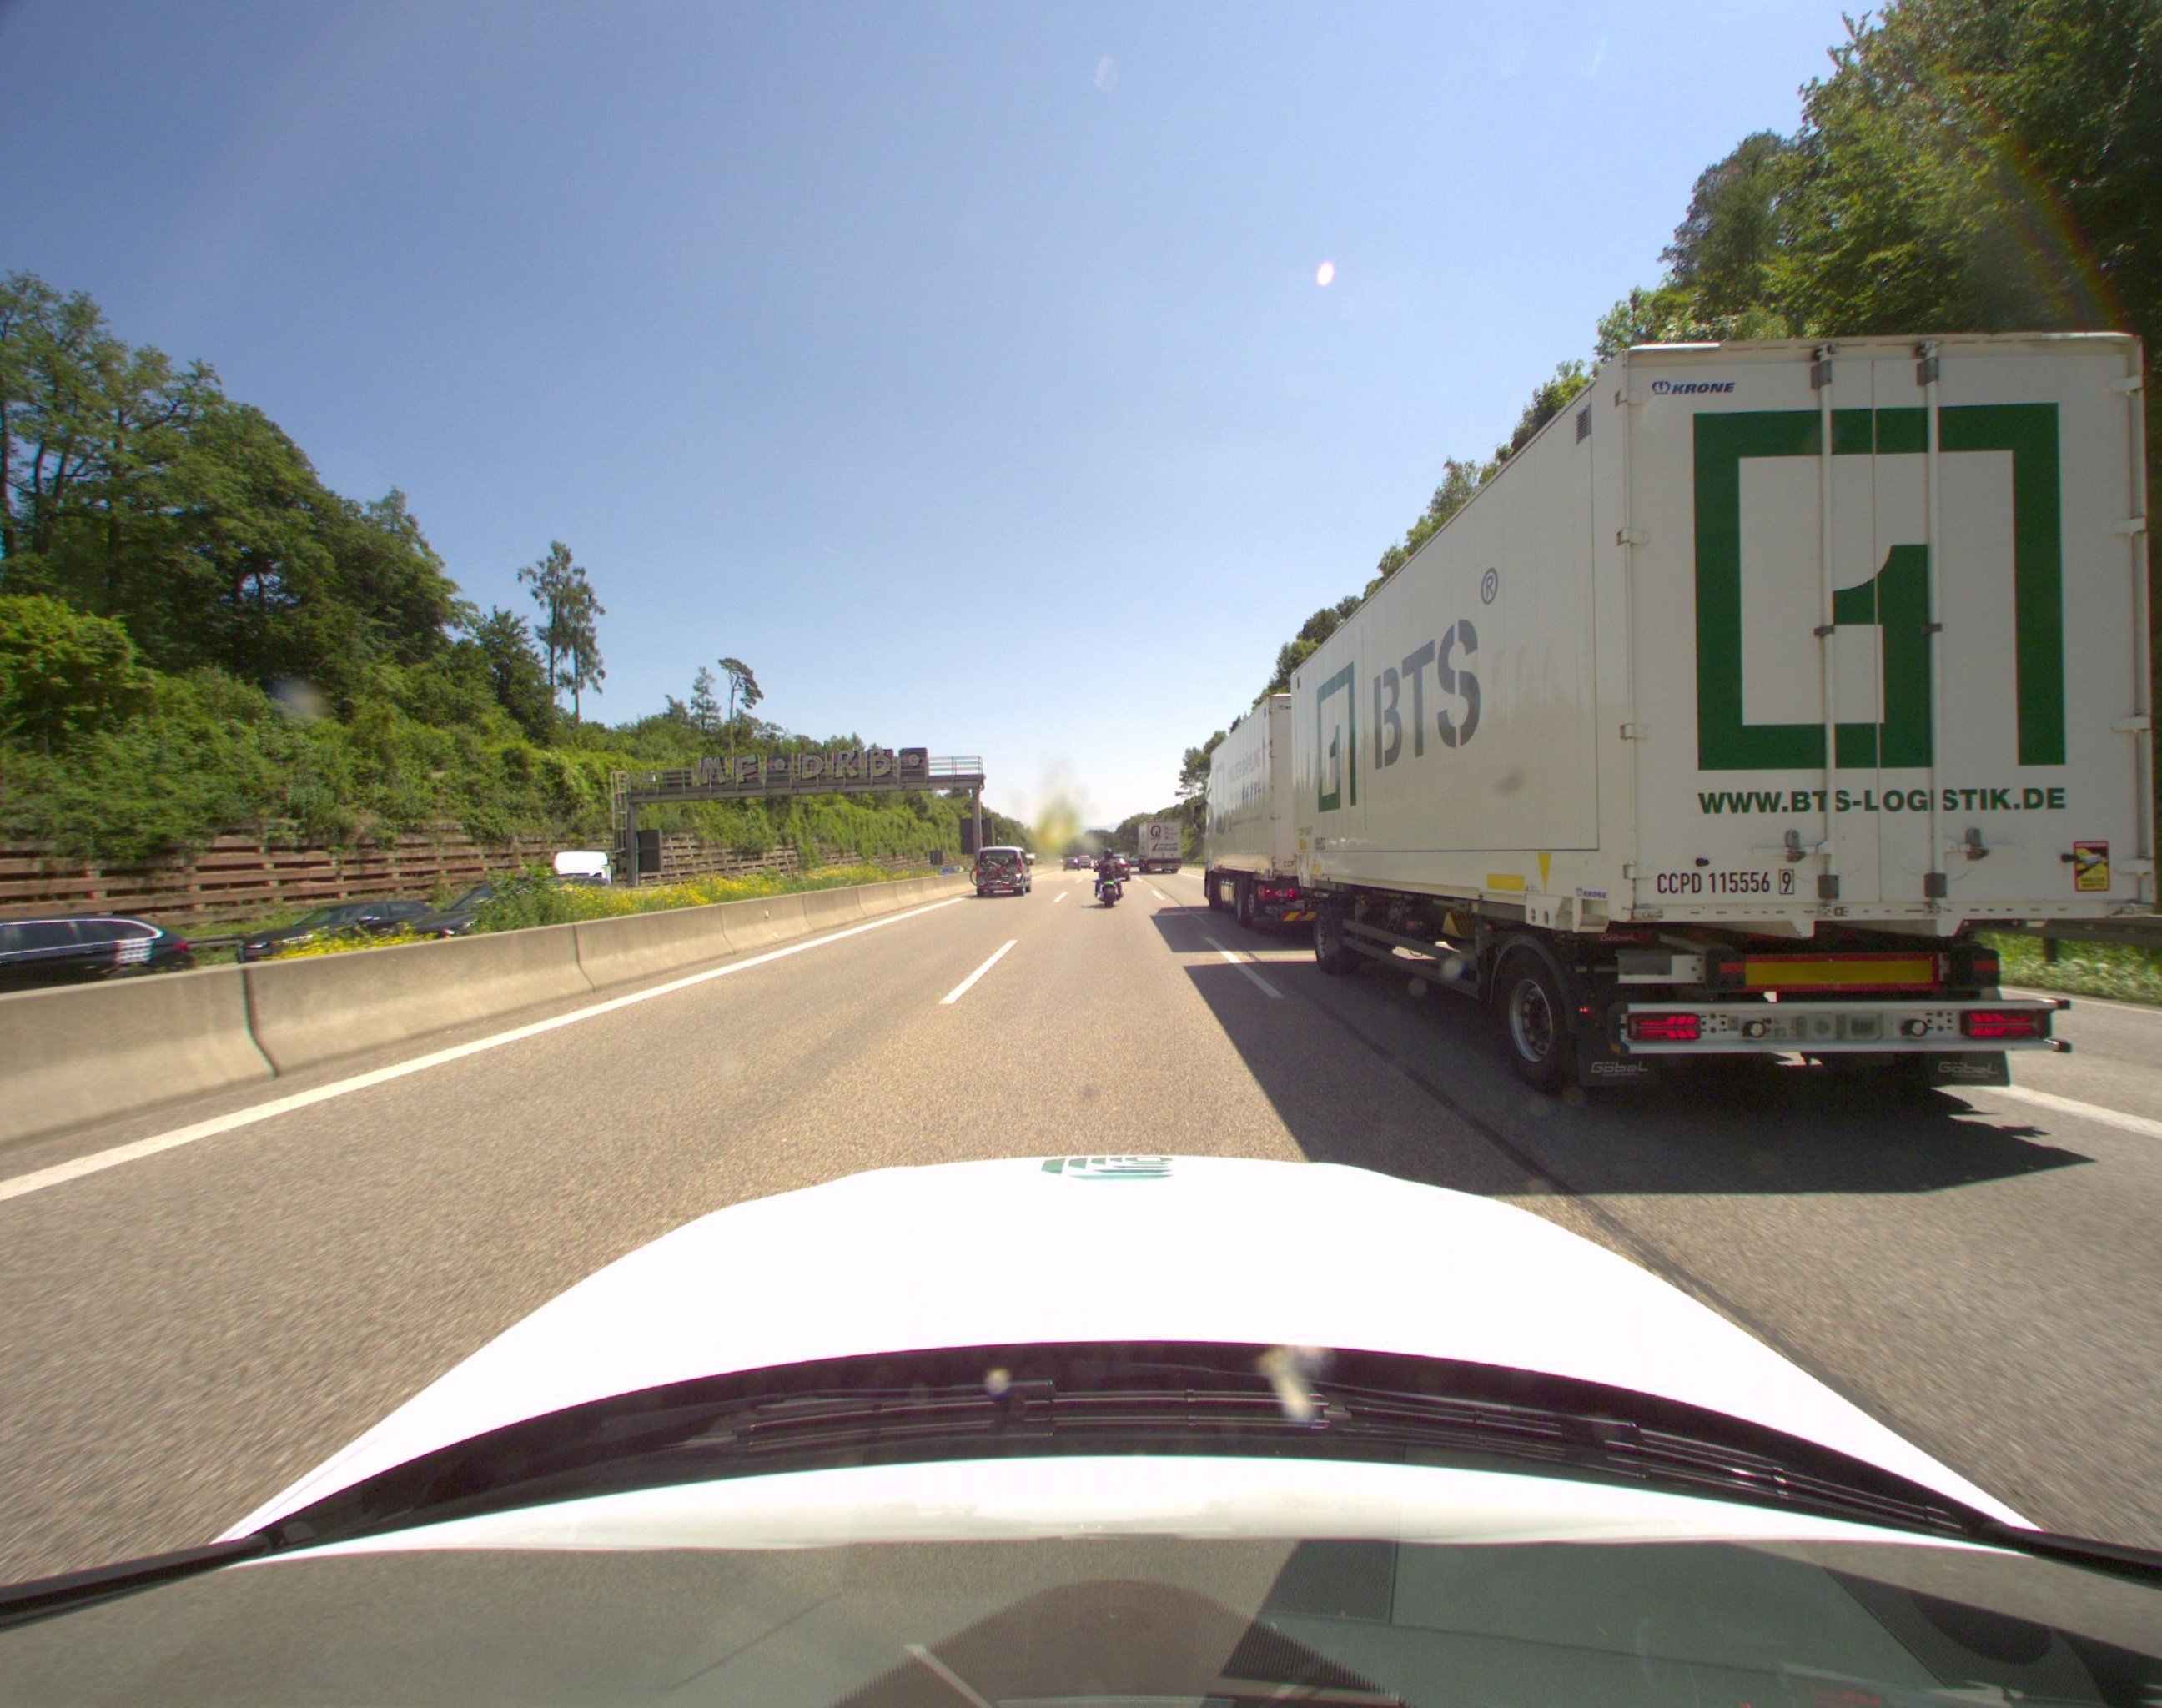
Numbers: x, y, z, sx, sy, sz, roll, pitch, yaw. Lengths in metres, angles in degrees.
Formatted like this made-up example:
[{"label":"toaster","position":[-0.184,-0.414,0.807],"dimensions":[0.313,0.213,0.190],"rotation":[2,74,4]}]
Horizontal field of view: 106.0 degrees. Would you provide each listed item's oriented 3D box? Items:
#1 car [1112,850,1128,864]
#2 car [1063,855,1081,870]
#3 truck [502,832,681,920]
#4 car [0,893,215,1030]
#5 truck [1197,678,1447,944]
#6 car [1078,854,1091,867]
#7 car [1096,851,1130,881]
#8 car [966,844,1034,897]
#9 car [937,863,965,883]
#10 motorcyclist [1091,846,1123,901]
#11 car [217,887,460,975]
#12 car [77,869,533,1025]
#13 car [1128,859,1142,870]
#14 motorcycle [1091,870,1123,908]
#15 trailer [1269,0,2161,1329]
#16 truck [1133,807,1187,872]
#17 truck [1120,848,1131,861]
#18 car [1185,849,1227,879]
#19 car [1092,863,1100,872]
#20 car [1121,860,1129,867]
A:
[{"label":"car","position":[4.550,0.355,95.068],"dimensions":[1.824,1.558,4.121],"rotation":[-1,0,2]},{"label":"car","position":[-0.979,0.866,89.630],"dimensions":[1.751,1.543,4.397],"rotation":[-1,0,2]},{"label":"truck","position":[-19.209,0.758,32.607],"dimensions":[2.570,2.992,7.065],"rotation":[-3,0,2]},{"label":"car","position":[-14.815,1.491,10.462],"dimensions":[1.995,1.605,4.864],"rotation":[-3,0,2]},{"label":"truck","position":[4.473,-0.674,17.870],"dimensions":[2.669,4.059,10.631],"rotation":[-1,0,2]},{"label":"car","position":[0.527,0.931,118.087],"dimensions":[1.824,1.810,4.121],"rotation":[-1,0,2]},{"label":"car","position":[1.785,0.620,46.113],"dimensions":[1.838,1.557,4.441],"rotation":[-1,0,2]},{"label":"car","position":[-2.987,0.602,31.354],"dimensions":[1.891,1.848,5.485],"rotation":[-1,0,2]},{"label":"car","position":[-12.182,1.751,76.414],"dimensions":[1.701,1.605,4.200],"rotation":[-3,0,2]},{"label":"motorcyclist","position":[0.749,0.559,23.271],"dimensions":[0.852,1.515,0.914],"rotation":[-1,-1,2]},{"label":"car","position":[-17.891,1.772,19.978],"dimensions":[1.793,1.604,4.373],"rotation":[-3,0,2]},{"label":"car","position":[-10.722,1.144,11.938],"dimensions":[1.996,1.605,4.715],"rotation":[-3,0,2]},{"label":"car","position":[8.040,1.514,121.298],"dimensions":[1.824,1.526,4.029],"rotation":[-1,0,2]},{"label":"motorcycle","position":[0.766,0.983,23.405],"dimensions":[0.859,0.982,2.132],"rotation":[-1,-1,3]},{"label":"trailer","position":[4.116,-0.700,7.465],"dimensions":[2.670,4.175,10.069],"rotation":[-1,0,2]},{"label":"truck","position":[6.299,-1.085,68.062],"dimensions":[3.370,4.718,17.716],"rotation":[0,0,2]},{"label":"truck","position":[12.158,0.137,223.445],"dimensions":[3.056,3.346,9.656],"rotation":[0,0,2]},{"label":"car","position":[7.009,0.531,46.074],"dimensions":[1.838,1.557,4.394],"rotation":[-1,0,2]},{"label":"car","position":[3.382,2.947,180.851],"dimensions":[1.824,1.810,4.121],"rotation":[-1,0,2]},{"label":"car","position":[10.771,2.284,199.341],"dimensions":[1.824,1.526,4.029],"rotation":[-1,0,2]}]
